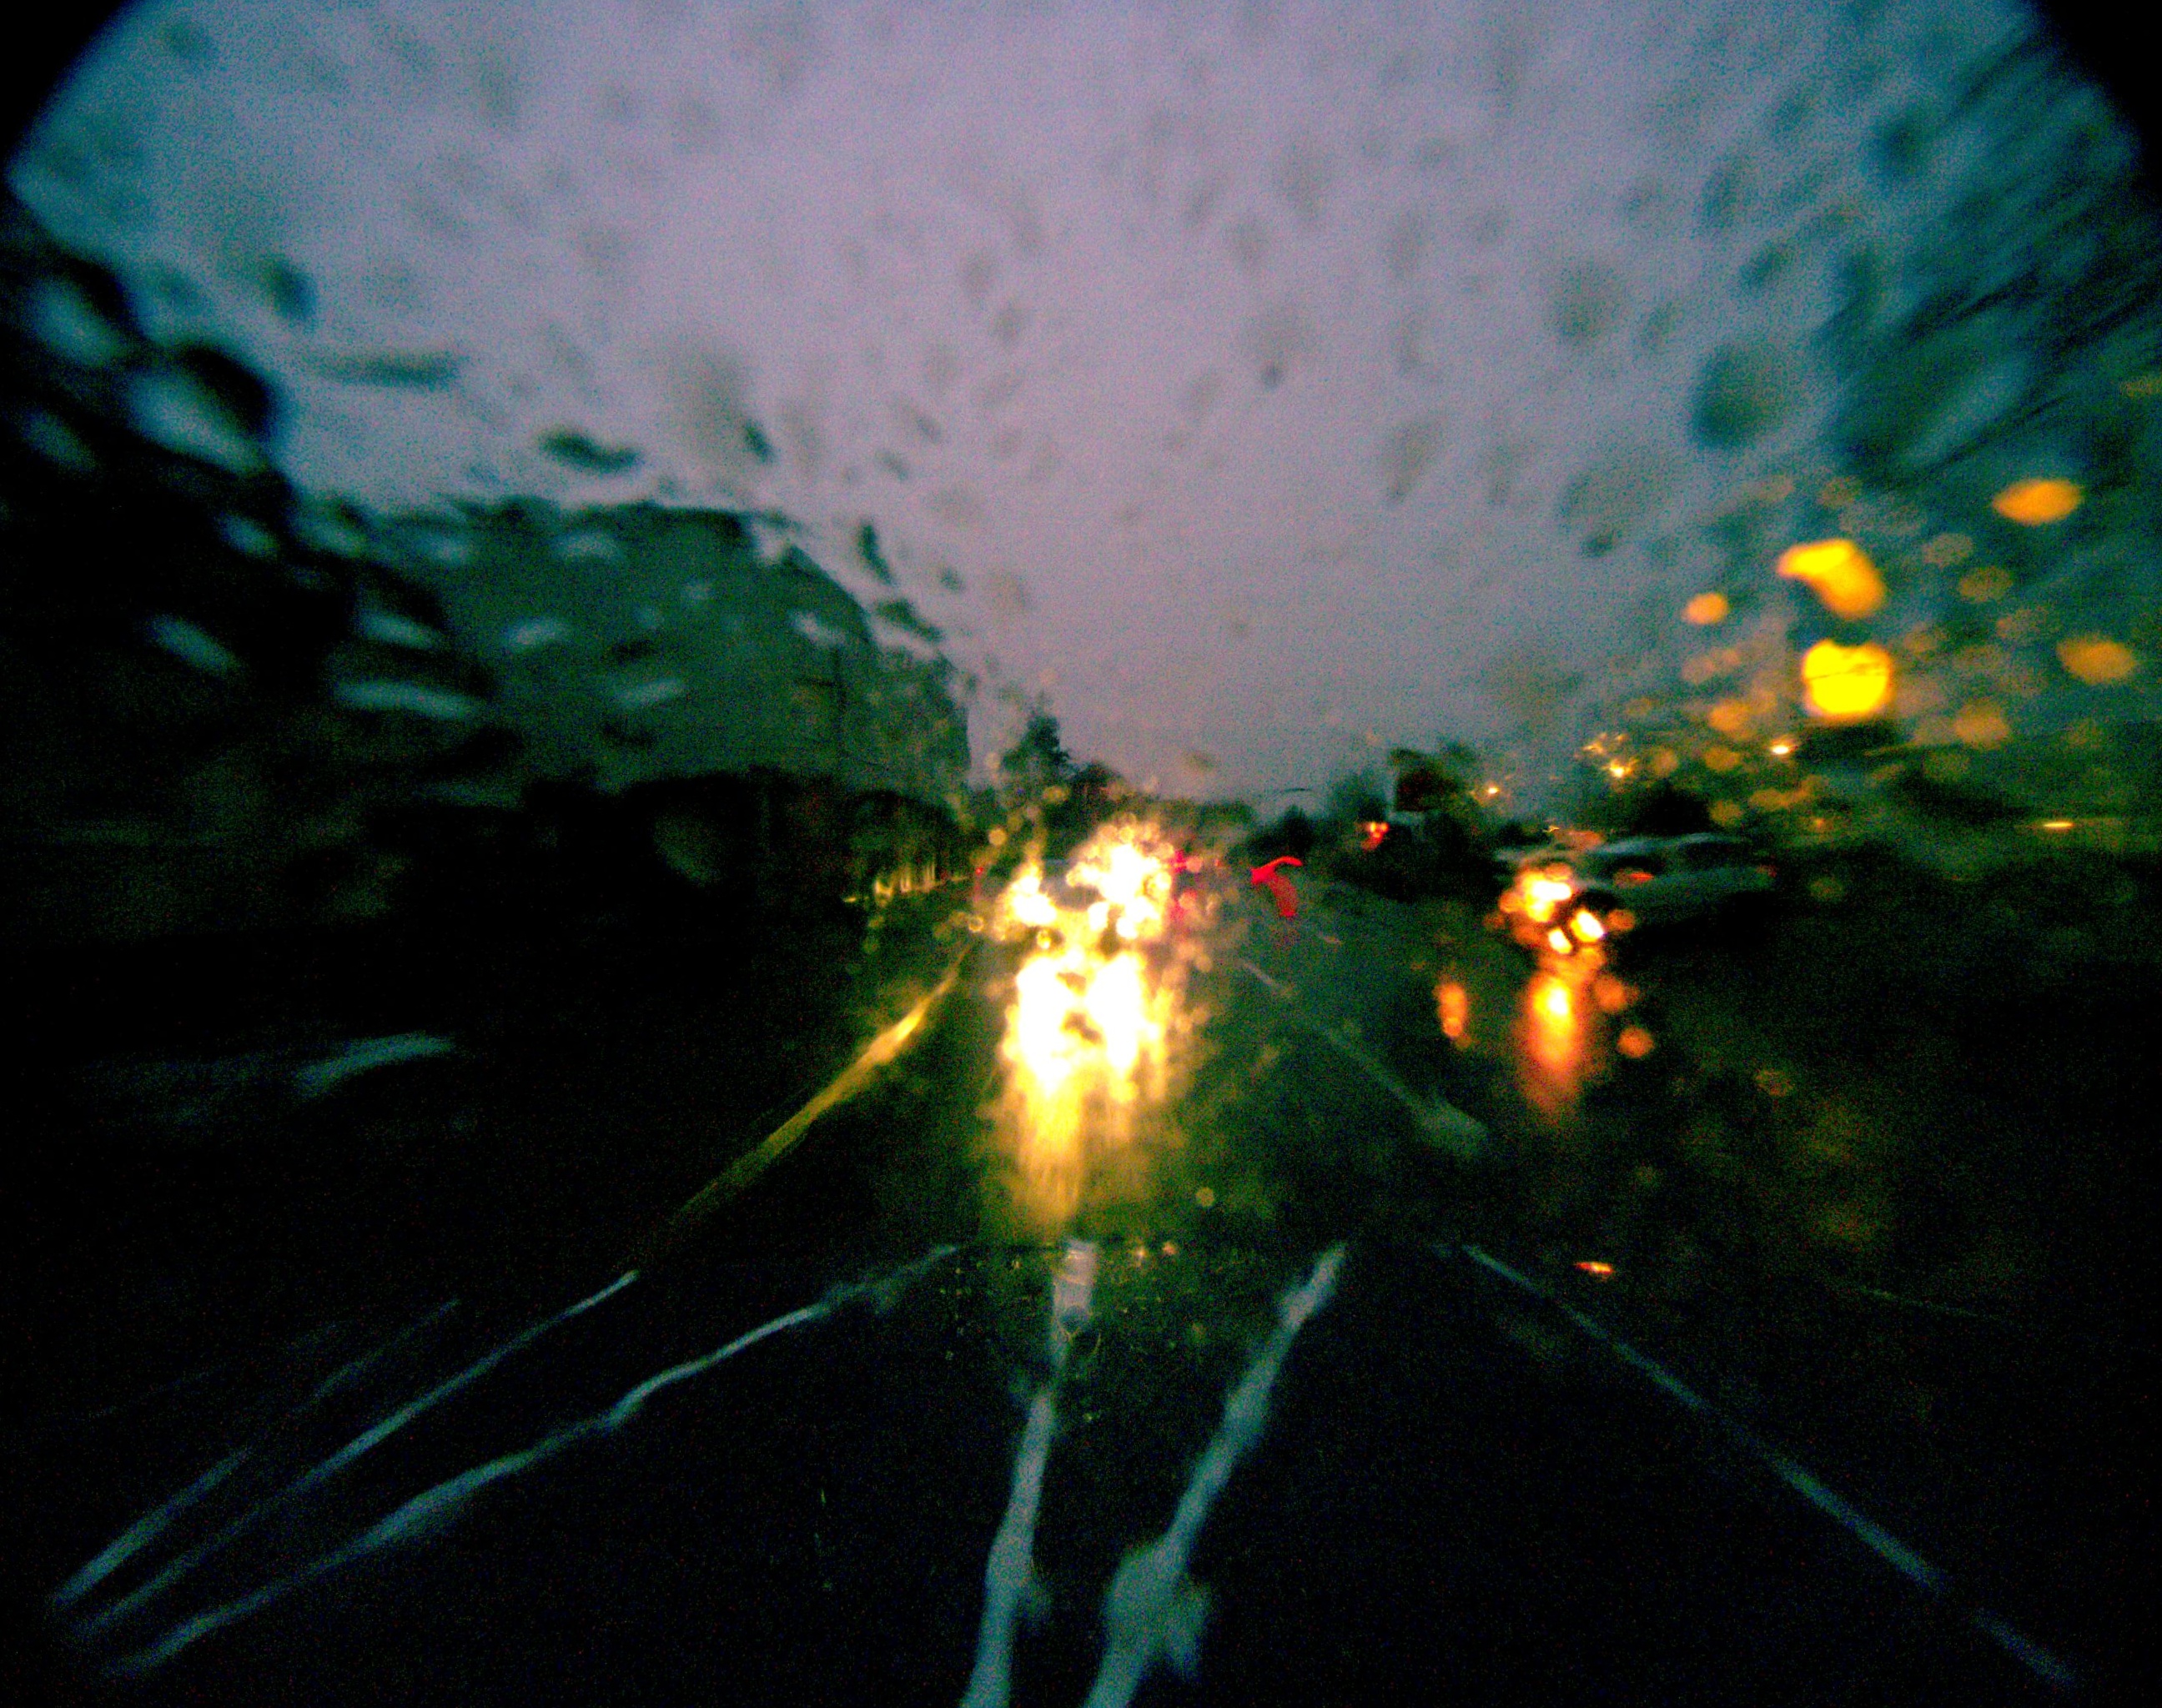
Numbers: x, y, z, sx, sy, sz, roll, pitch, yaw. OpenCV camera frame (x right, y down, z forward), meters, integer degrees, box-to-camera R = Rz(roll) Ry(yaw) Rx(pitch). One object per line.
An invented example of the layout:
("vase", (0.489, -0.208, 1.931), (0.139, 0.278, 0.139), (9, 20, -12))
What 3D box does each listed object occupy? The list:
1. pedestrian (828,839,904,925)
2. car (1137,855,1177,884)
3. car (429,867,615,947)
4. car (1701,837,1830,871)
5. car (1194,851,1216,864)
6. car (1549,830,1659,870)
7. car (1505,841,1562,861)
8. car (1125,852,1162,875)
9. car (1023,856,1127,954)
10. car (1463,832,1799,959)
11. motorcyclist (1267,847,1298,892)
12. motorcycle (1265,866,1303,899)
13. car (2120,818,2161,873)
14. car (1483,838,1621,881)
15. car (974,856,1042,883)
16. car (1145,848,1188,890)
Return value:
("pedestrian", (-4.819, 0.601, 17.117), (1.257, 1.855, 1.303), (1, 1, 4))
("car", (4.449, 0.865, 44.152), (1.665, 1.477, 4.004), (-1, 1, 14))
("car", (-11.508, 0.999, 16.026), (1.882, 1.251, 4.163), (-1, 2, -17))
("car", (32.098, 0.017, 35.719), (4.443, 1.554, 2.055), (0, -1, -5))
("car", (14.120, 0.404, 86.233), (1.773, 1.422, 3.802), (-2, -1, 19))
("car", (31.131, -0.205, 45.293), (5.201, 2.269, 2.218), (0, -1, -5))
("car", (36.754, -0.274, 61.860), (1.687, 1.528, 4.784), (-1, 1, -2))
("car", (4.433, 0.657, 53.264), (1.996, 1.464, 4.004), (-2, 0, 13))
("car", (-0.059, 0.895, 15.383), (1.776, 1.632, 4.421), (-1, 0, 1))
("car", (9.076, 0.638, 12.799), (4.237, 1.689, 1.899), (-4, 1, -1))
("motorcyclist", (6.892, 0.512, 26.017), (0.867, 1.476, 0.909), (-2, 1, 5))
("motorcycle", (6.902, 0.948, 25.947), (0.867, 1.018, 2.110), (-2, 1, 5))
("car", (32.631, -0.234, 21.375), (4.443, 1.554, 2.055), (0, -1, -5))
("car", (20.125, 0.231, 32.579), (4.784, 1.702, 2.032), (-1, 0, -6))
("car", (-4.710, 1.016, 49.647), (4.181, 1.432, 1.798), (-4, -1, 0))
("car", (3.860, 0.627, 34.212), (1.775, 1.713, 4.423), (-1, 0, 6))
